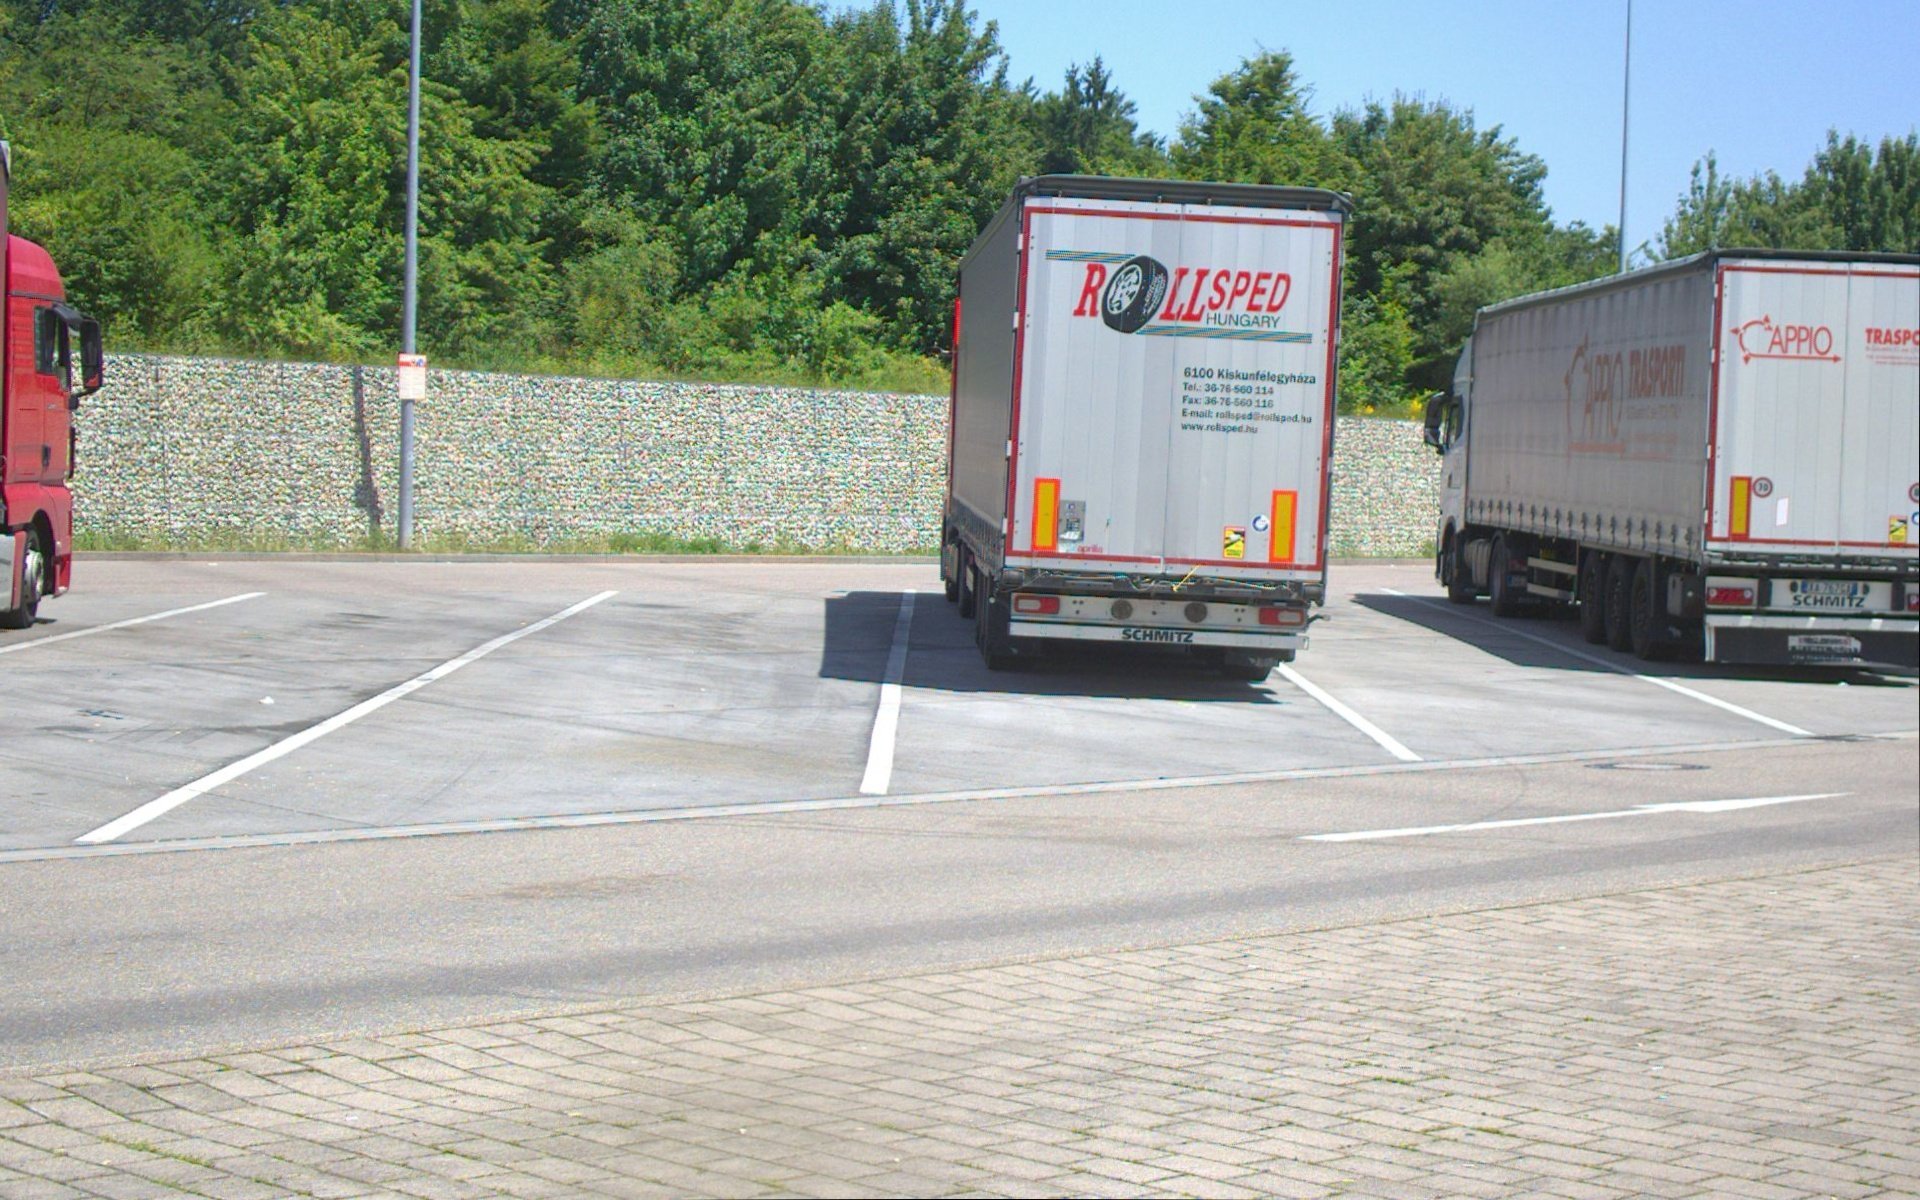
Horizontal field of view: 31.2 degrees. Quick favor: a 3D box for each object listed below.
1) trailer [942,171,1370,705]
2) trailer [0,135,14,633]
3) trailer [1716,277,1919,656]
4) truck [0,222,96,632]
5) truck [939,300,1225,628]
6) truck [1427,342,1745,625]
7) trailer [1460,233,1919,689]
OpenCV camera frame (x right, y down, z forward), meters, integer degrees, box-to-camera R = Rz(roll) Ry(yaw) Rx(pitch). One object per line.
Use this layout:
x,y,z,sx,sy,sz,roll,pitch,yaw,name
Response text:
1.454,-1.573,33.117,2.858,3.958,13.765,2,3,-1,trailer
-9.169,-1.468,21.375,2.821,4.057,13.765,2,3,-1,trailer
11.780,-1.511,39.384,2.858,4.095,13.765,2,3,-1,trailer
-9.257,-1.459,28.195,2.812,3.351,5.975,2,3,-1,truck
1.270,-1.579,39.318,2.865,3.351,5.975,2,3,-1,truck
8.080,-1.576,45.137,2.865,3.351,5.975,2,3,-1,truck
8.182,-1.595,38.371,2.858,4.095,13.765,2,3,-1,trailer
